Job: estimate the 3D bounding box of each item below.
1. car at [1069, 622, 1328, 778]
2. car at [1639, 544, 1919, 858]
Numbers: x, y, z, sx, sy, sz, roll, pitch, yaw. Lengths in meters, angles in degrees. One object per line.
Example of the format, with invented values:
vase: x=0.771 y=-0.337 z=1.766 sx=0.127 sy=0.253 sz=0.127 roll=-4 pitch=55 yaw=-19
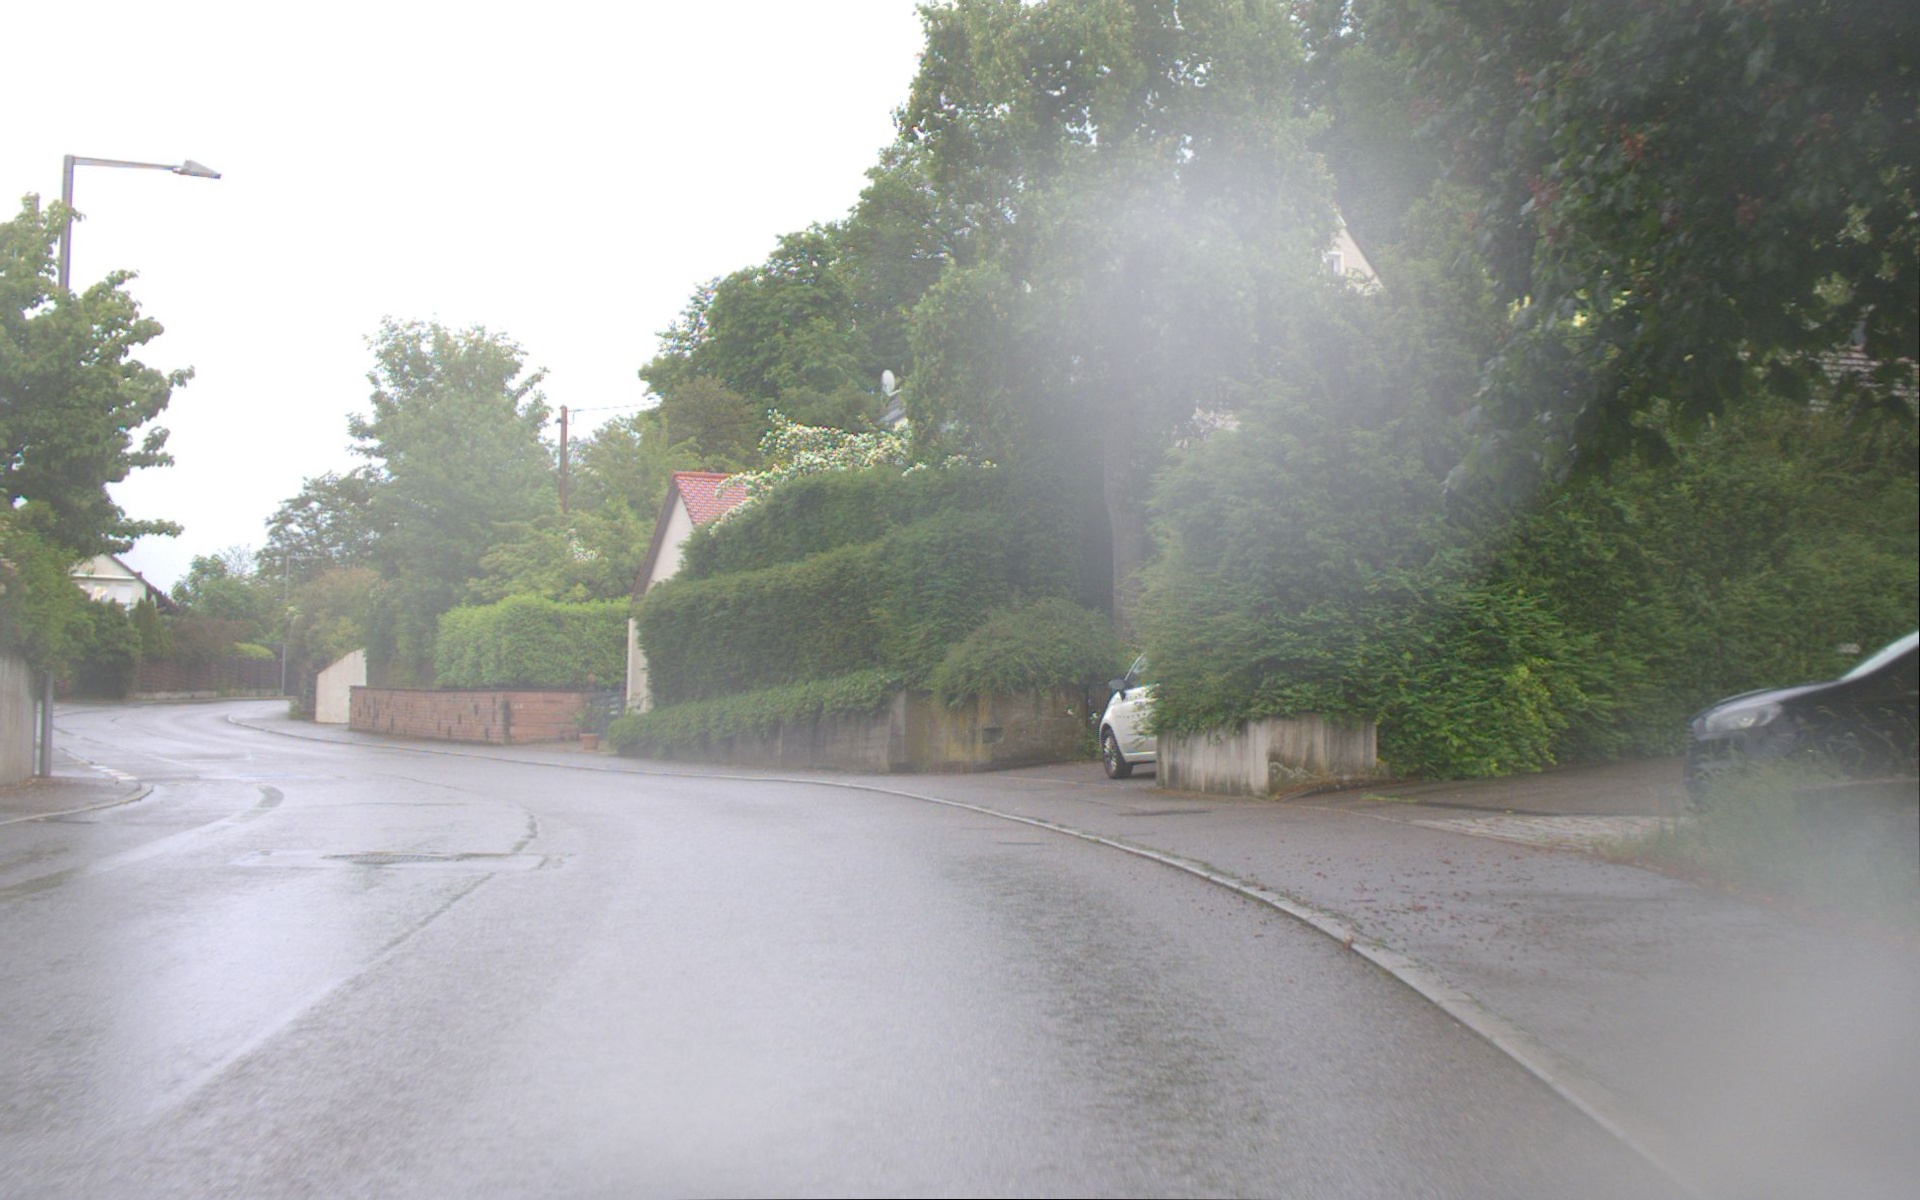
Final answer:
car: x=2.558 y=1.072 z=37.728 sx=1.531 sy=1.530 sz=3.846 roll=-3 pitch=0 yaw=-16
car: x=6.253 y=0.682 z=20.261 sx=4.334 sy=1.710 sz=1.727 roll=3 pitch=-2 yaw=12
